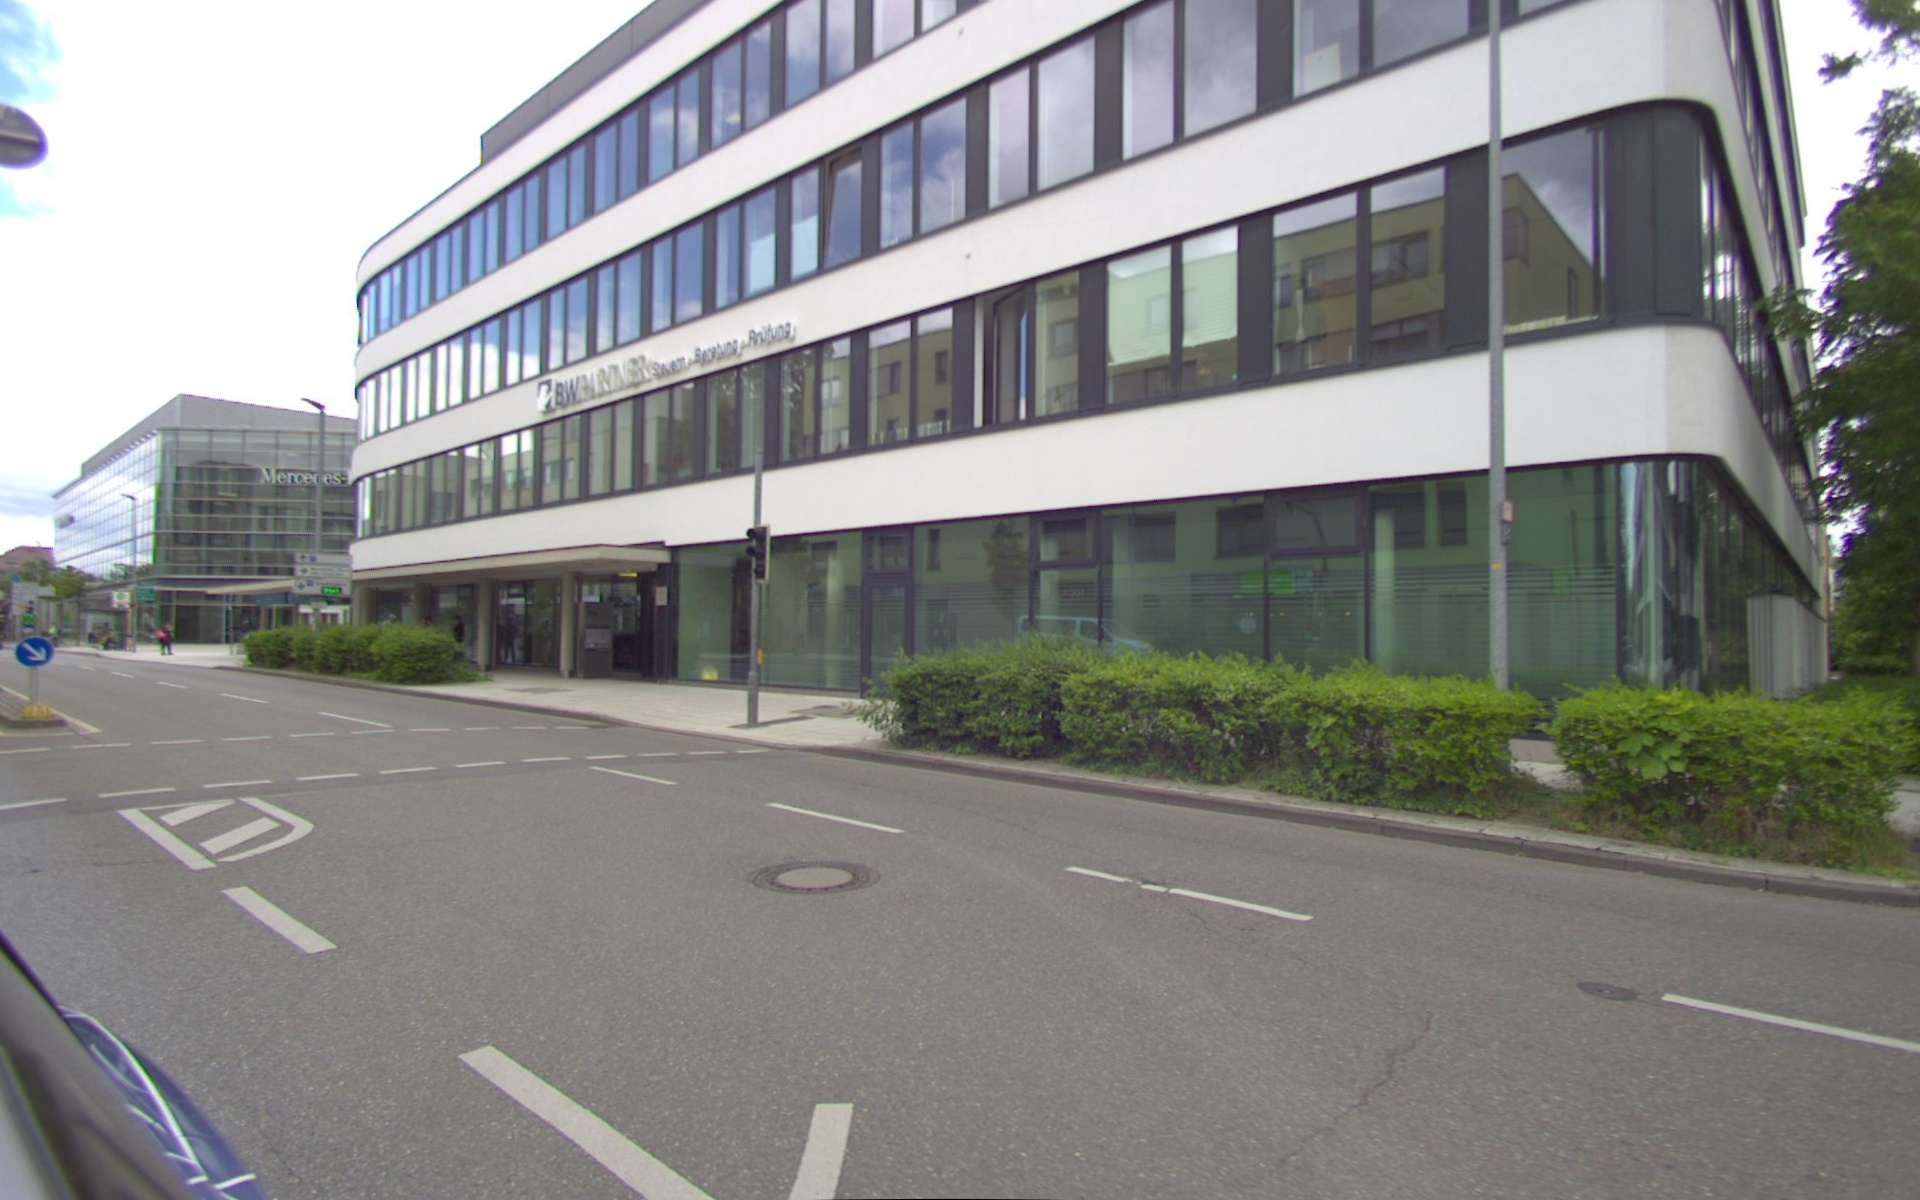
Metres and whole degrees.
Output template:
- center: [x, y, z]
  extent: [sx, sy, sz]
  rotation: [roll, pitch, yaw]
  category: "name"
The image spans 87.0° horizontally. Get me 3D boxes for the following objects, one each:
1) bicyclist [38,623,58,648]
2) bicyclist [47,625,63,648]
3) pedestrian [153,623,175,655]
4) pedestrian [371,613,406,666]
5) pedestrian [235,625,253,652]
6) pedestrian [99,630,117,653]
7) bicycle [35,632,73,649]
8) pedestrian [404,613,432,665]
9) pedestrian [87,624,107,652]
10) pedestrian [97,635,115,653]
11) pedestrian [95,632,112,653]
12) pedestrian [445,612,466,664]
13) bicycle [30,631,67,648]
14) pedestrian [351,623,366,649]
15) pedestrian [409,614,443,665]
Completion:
- center: [-68.039, 2.641, 75.511]
  extent: [0.762, 1.814, 0.748]
  rotation: [-1, -1, -4]
  category: "bicyclist"
- center: [-65.936, 2.675, 73.719]
  extent: [0.771, 1.661, 0.640]
  rotation: [-1, -1, -33]
  category: "bicyclist"
- center: [-39.351, 1.924, 50.040]
  extent: [0.820, 1.579, 0.814]
  rotation: [0, -2, -43]
  category: "pedestrian"
- center: [-18.256, 1.252, 32.328]
  extent: [0.931, 1.686, 0.722]
  rotation: [-2, -2, 44]
  category: "pedestrian"
- center: [-54.059, 2.903, 76.424]
  extent: [0.740, 1.960, 0.901]
  rotation: [0, -1, 3]
  category: "pedestrian"
- center: [-50.722, 2.468, 60.278]
  extent: [0.576, 1.330, 0.677]
  rotation: [-2, -4, 41]
  category: "pedestrian"
- center: [-65.957, 2.953, 73.698]
  extent: [1.972, 1.139, 0.640]
  rotation: [-1, -1, -33]
  category: "bicycle"
- center: [-18.044, 1.290, 33.691]
  extent: [0.501, 1.723, 0.613]
  rotation: [0, -2, 12]
  category: "pedestrian"
- center: [-52.320, 2.302, 61.354]
  extent: [0.568, 1.644, 0.686]
  rotation: [1, -3, 1]
  category: "pedestrian"
- center: [-51.218, 2.628, 60.723]
  extent: [0.576, 1.084, 0.677]
  rotation: [-2, -5, 41]
  category: "pedestrian"
- center: [-51.700, 2.551, 61.086]
  extent: [0.576, 1.263, 0.677]
  rotation: [-2, -4, 41]
  category: "pedestrian"
- center: [-16.850, 1.273, 33.832]
  extent: [0.497, 1.743, 0.617]
  rotation: [1, -2, -17]
  category: "pedestrian"
- center: [-68.032, 2.951, 75.520]
  extent: [2.000, 1.215, 0.748]
  rotation: [-1, -1, -4]
  category: "bicycle"
- center: [-45.765, 2.771, 77.033]
  extent: [0.747, 1.960, 0.680]
  rotation: [-1, -1, 29]
  category: "pedestrian"
- center: [-17.138, 1.254, 32.472]
  extent: [0.931, 1.625, 0.722]
  rotation: [-2, -2, 44]
  category: "pedestrian"
